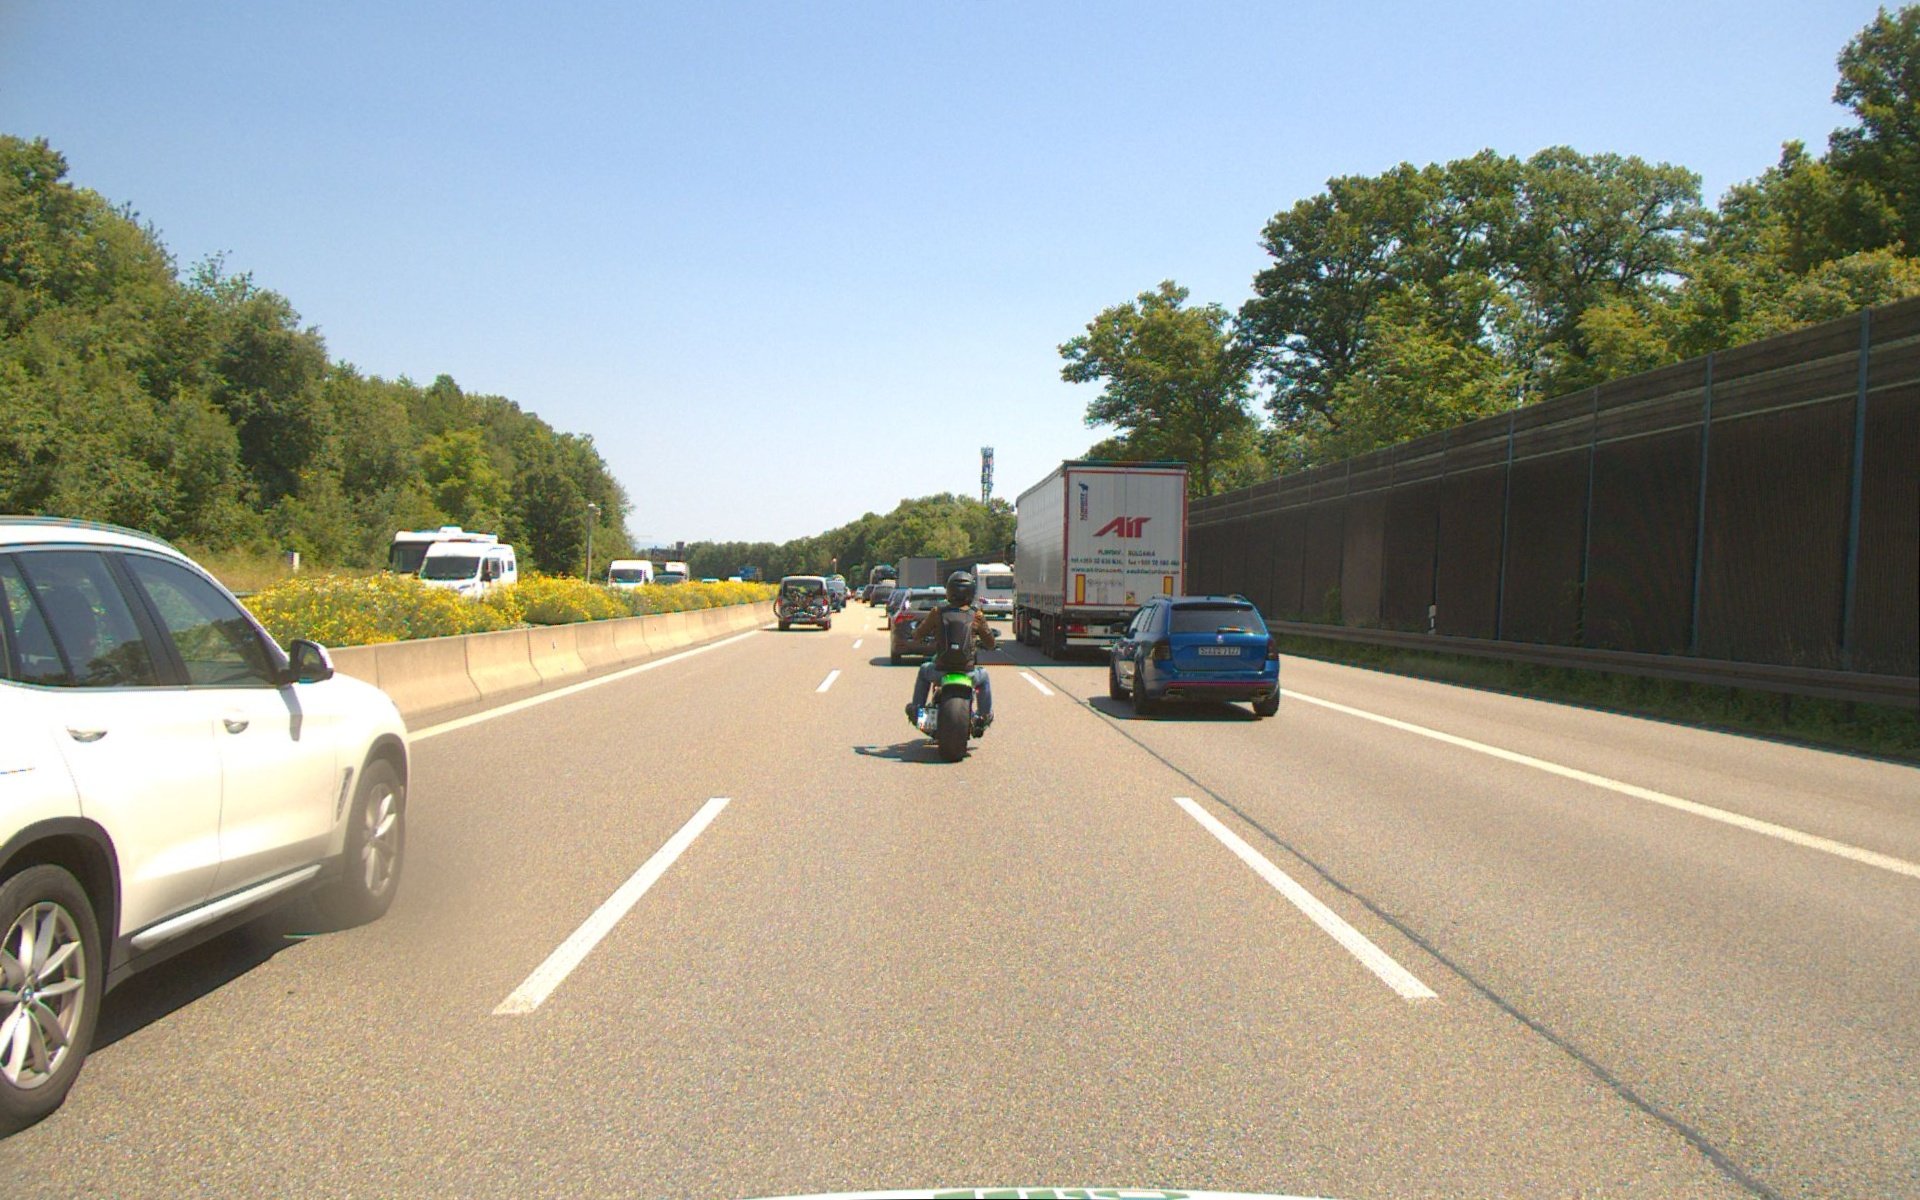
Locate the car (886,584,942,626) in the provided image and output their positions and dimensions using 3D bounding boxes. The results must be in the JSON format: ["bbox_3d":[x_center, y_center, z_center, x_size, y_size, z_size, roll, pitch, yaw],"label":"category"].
[{"bbox_3d":[-1.645,0.203,59.771,1.953,1.455,3.846,0,-1,-2],"label":"car"}]

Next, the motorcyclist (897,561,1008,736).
[{"bbox_3d":[-0.041,0.429,15.211,0.881,1.501,1.873,0,-1,4],"label":"motorcyclist"}]

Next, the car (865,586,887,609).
[{"bbox_3d":[-7.599,-0.224,149.910,1.874,2.049,3.687,0,-1,-5],"label":"car"}]

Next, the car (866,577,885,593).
[{"bbox_3d":[-10.248,-1.814,200.975,2.067,1.909,3.995,0,-1,-6],"label":"car"}]

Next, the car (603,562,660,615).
[{"bbox_3d":[-17.946,-0.656,90.654,2.156,2.789,5.744,0,0,-2],"label":"car"}]

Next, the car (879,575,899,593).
[{"bbox_3d":[-8.393,-1.877,195.226,2.067,1.909,3.995,0,-1,-6],"label":"car"}]

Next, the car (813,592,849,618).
[{"bbox_3d":[-7.500,0.307,96.348,1.954,1.411,3.997,0,-1,-3],"label":"car"}]

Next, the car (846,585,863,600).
[{"bbox_3d":[-11.190,-0.797,175.727,1.795,1.522,3.741,0,-1,-2],"label":"car"}]

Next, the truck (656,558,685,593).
[{"bbox_3d":[-35.484,-2.979,202.611,2.906,4.179,6.082,0,-1,-5],"label":"truck"}]

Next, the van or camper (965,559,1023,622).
[{"bbox_3d":[1.571,-0.374,79.186,2.630,2.862,6.802,0,-1,0],"label":"van or camper"}]

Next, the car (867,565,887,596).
[{"bbox_3d":[-10.807,-2.497,214.711,2.092,3.929,8.132,1,0,-6],"label":"car"}]

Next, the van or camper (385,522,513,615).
[{"bbox_3d":[-19.930,-1.106,65.091,2.488,3.375,8.998,0,-1,-2],"label":"van or camper"}]

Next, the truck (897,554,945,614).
[{"bbox_3d":[-3.467,-1.297,144.473,3.728,5.047,8.942,0,-1,-4],"label":"truck"}]

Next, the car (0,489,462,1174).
[{"bbox_3d":[-3.369,0.572,5.845,1.826,1.724,4.954,0,0,-2],"label":"car"}]

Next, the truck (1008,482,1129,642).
[{"bbox_3d":[2.972,-1.029,46.789,2.827,4.218,5.984,0,0,-2],"label":"truck"}]

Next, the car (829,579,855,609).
[{"bbox_3d":[-8.427,-0.410,118.326,1.756,2.049,3.639,0,-1,-3],"label":"car"}]

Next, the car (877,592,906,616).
[{"bbox_3d":[-5.015,0.303,120.389,1.954,1.669,3.996,0,-1,-4],"label":"car"}]

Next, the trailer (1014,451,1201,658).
[{"bbox_3d":[3.163,-0.937,39.824,2.827,4.109,13.790,0,0,-2],"label":"trailer"}]

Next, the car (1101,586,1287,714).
[{"bbox_3d":[2.957,0.620,21.763,1.617,1.509,4.479,0,-1,-3],"label":"car"}]

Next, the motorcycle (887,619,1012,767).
[{"bbox_3d":[-0.043,0.791,15.199,0.944,1.168,2.813,1,0,3],"label":"motorcycle"}]

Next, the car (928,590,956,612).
[{"bbox_3d":[-1.414,0.083,126.215,1.954,1.601,3.997,0,-1,-3],"label":"car"}]

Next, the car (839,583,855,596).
[{"bbox_3d":[-13.972,-1.284,204.037,1.795,1.522,3.742,0,-1,-2],"label":"car"}]

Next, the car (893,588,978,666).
[{"bbox_3d":[-0.547,0.548,33.833,1.629,1.478,3.867,0,-1,-2],"label":"car"}]

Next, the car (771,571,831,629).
[{"bbox_3d":[-5.466,0.038,57.262,1.861,1.906,4.409,0,-1,-3],"label":"car"}]

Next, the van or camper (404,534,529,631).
[{"bbox_3d":[-15.838,-0.549,53.530,2.212,2.950,6.555,0,0,-1],"label":"van or camper"}]
